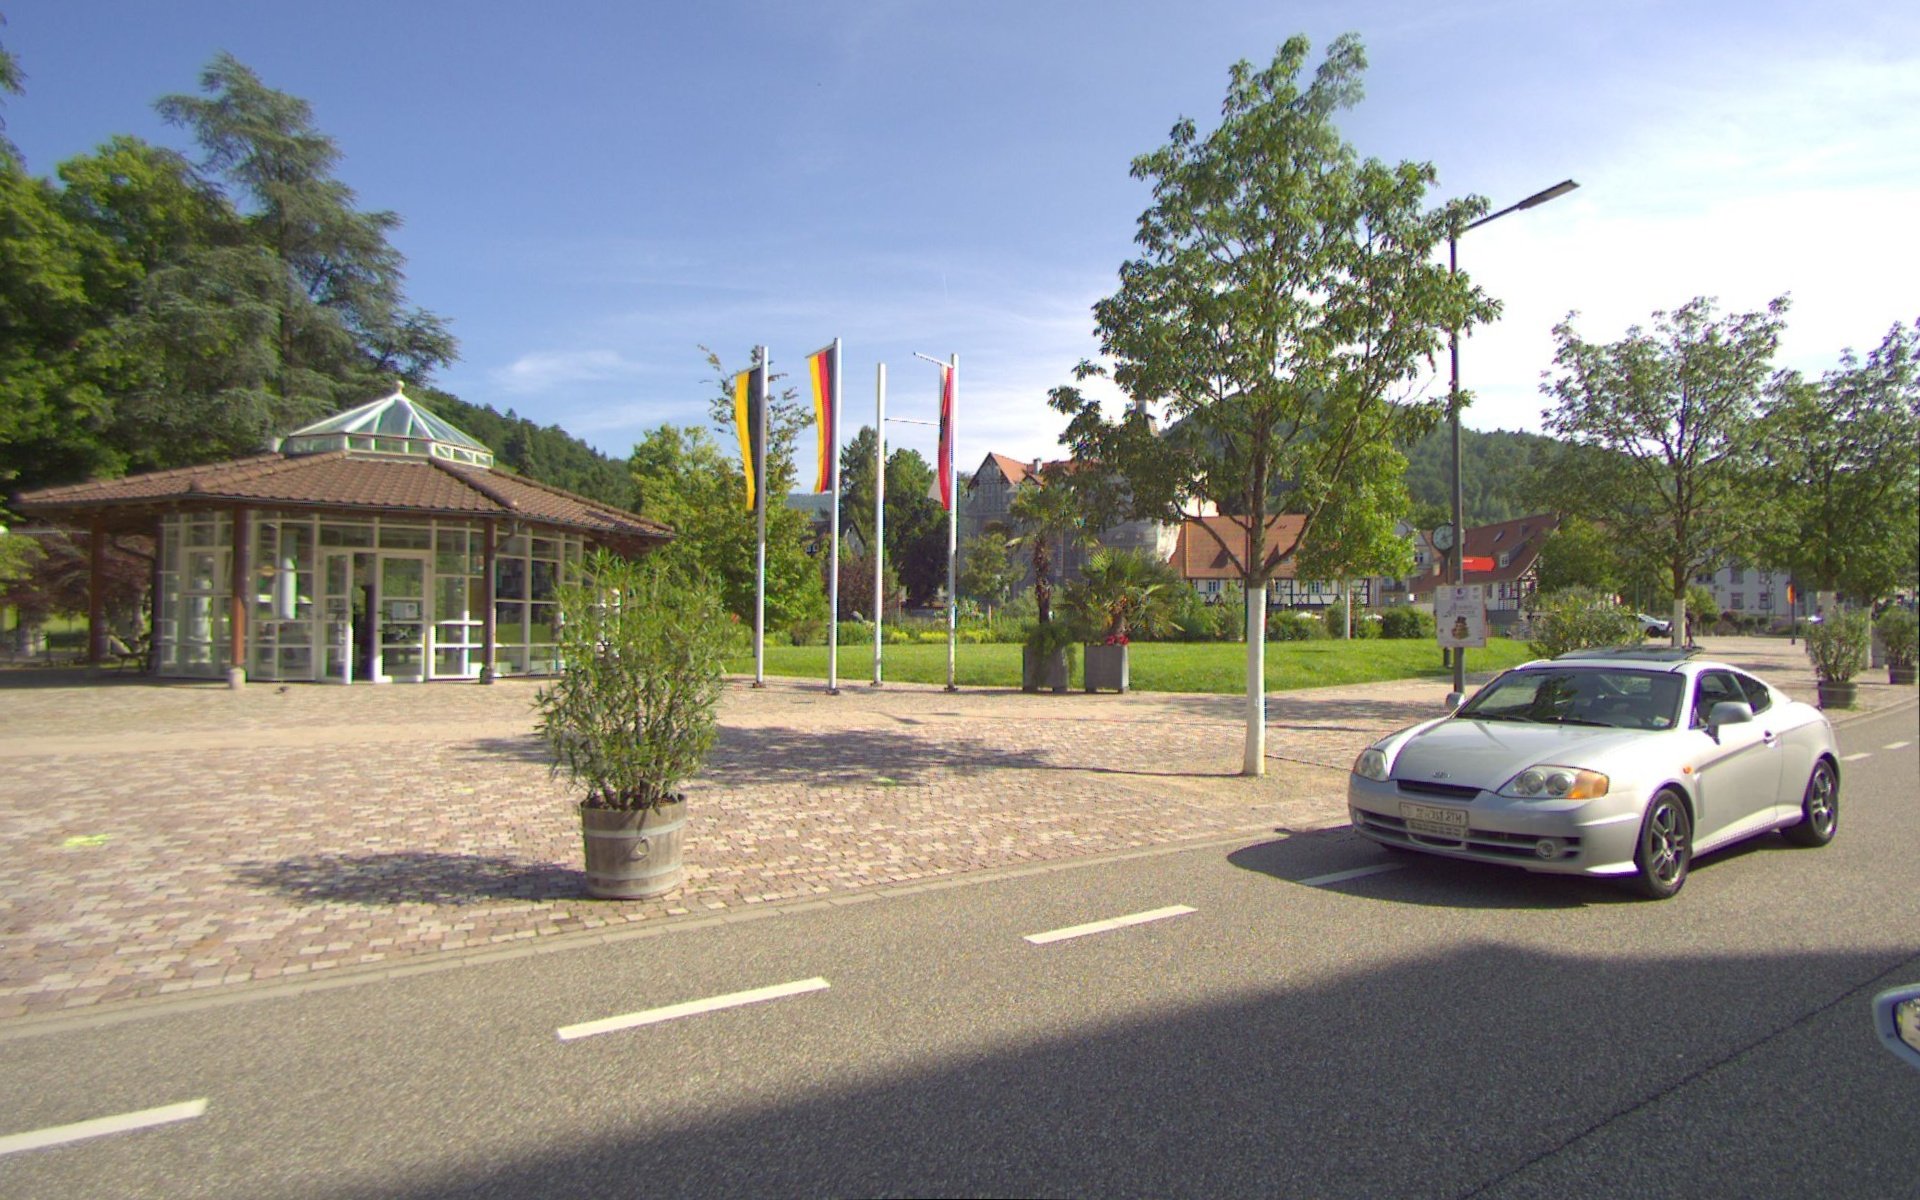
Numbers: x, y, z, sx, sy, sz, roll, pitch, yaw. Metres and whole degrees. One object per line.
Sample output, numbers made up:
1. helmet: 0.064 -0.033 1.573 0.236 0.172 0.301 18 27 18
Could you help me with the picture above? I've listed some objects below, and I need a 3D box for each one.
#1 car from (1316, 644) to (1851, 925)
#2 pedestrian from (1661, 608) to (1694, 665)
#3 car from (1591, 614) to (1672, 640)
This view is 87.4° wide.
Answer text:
1. car: 4.378 1.013 6.866 4.022 1.388 1.618 1 -3 -35
2. pedestrian: 23.733 1.198 33.231 0.856 1.839 0.688 0 -1 38
3. car: 44.378 1.746 66.440 1.670 1.638 4.150 1 -1 -29
